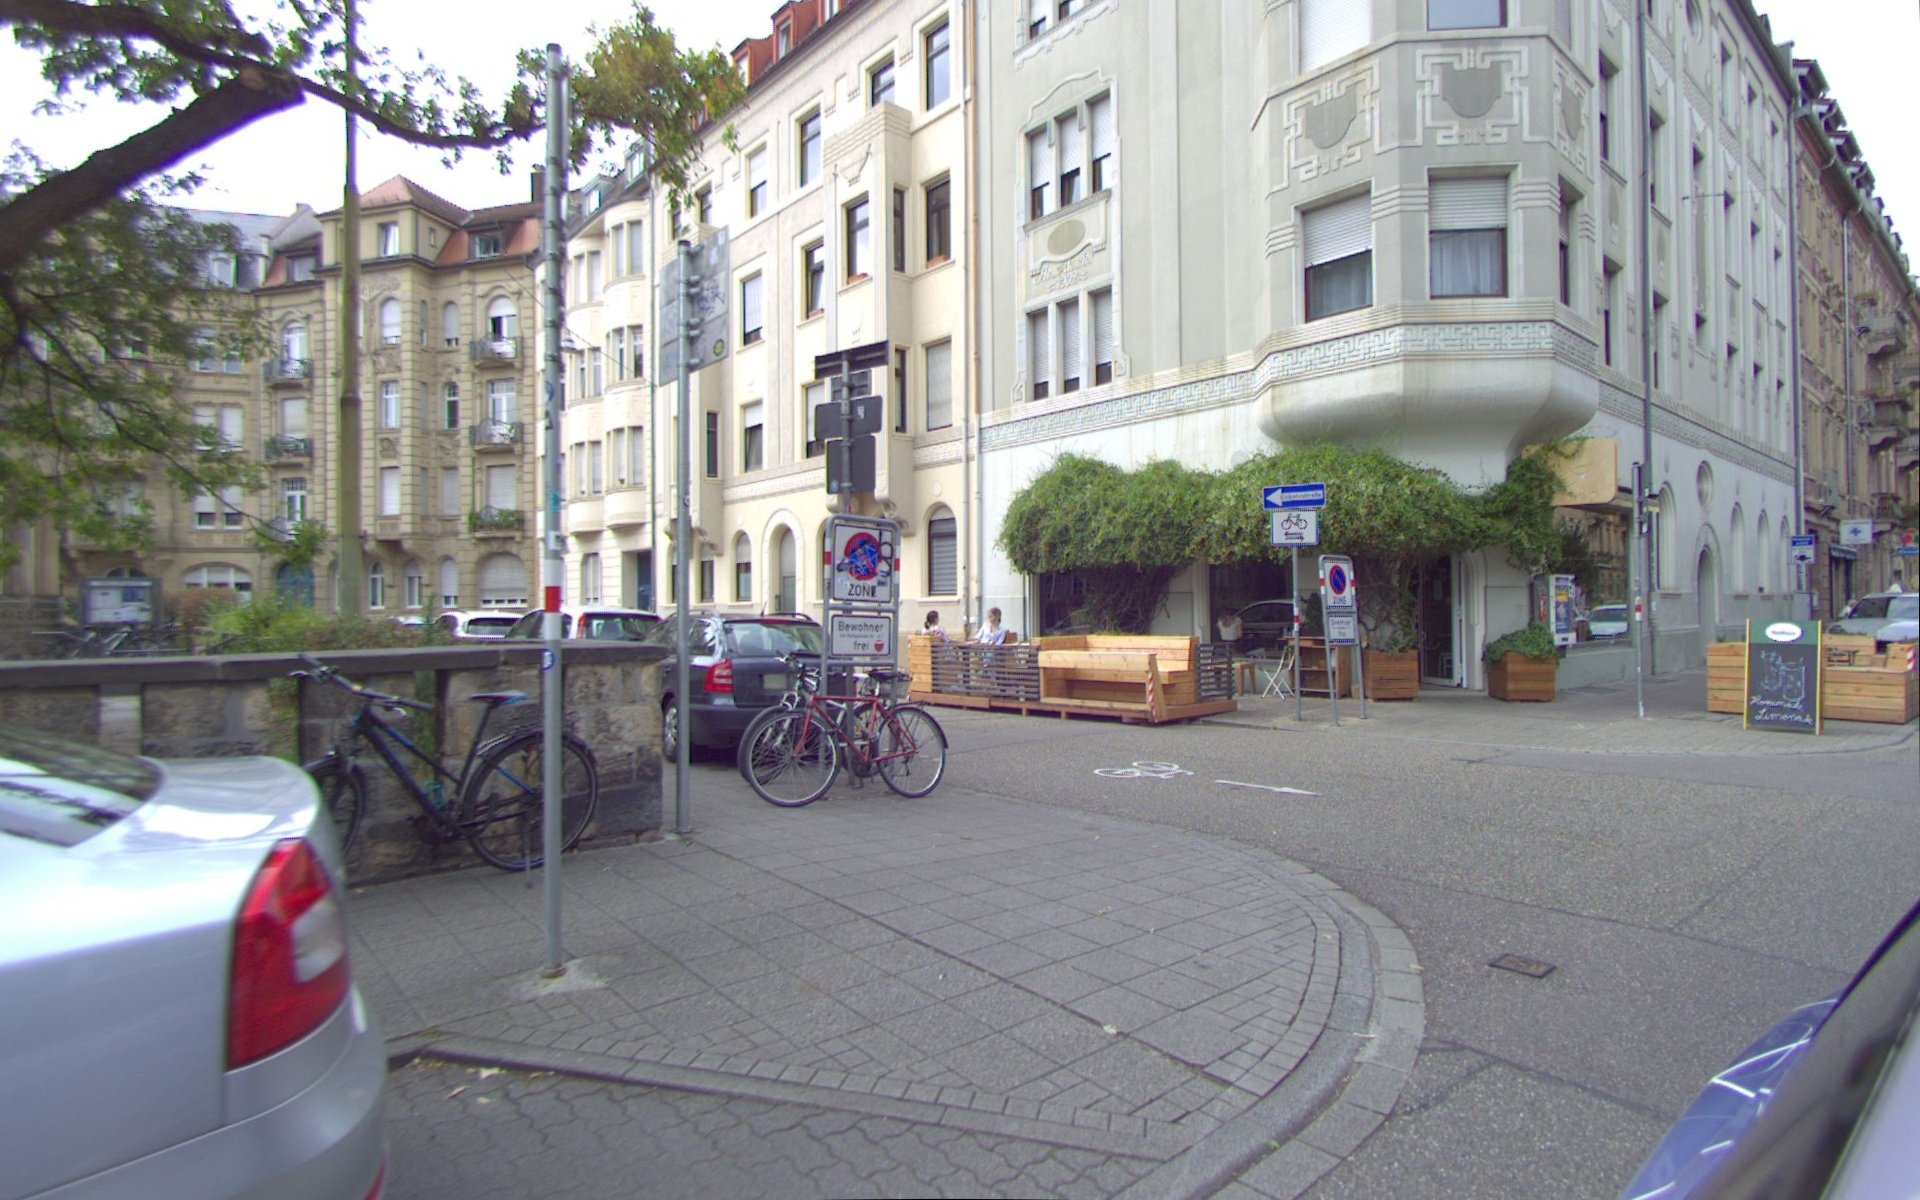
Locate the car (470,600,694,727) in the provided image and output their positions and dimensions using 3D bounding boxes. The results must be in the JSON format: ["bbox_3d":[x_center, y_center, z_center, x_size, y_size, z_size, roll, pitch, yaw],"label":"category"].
[{"bbox_3d":[-5.556,0.825,14.570,1.814,1.555,4.032,3,-2,-39],"label":"car"}]

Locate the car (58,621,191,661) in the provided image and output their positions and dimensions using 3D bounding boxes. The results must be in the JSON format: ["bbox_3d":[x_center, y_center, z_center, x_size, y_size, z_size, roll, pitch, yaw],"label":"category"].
[{"bbox_3d":[-35.404,1.720,42.982,4.067,1.396,1.639,-3,-1,-11],"label":"car"}]

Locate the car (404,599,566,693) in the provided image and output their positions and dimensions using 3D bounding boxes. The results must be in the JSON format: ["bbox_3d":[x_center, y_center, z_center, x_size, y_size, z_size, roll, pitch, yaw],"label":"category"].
[{"bbox_3d":[-8.973,0.814,18.944,1.814,1.555,4.032,3,-2,-39],"label":"car"}]

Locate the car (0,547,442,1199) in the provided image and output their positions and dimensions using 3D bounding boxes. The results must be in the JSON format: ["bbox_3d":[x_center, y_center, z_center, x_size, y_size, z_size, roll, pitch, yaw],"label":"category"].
[{"bbox_3d":[-2.960,0.695,0.708,4.343,1.487,1.757,0,0,-42],"label":"car"}]

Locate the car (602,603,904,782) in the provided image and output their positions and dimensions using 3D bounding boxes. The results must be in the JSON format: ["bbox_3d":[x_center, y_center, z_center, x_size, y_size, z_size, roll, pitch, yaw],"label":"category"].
[{"bbox_3d":[-2.392,0.804,10.795,1.871,1.488,4.039,-1,0,-32],"label":"car"}]

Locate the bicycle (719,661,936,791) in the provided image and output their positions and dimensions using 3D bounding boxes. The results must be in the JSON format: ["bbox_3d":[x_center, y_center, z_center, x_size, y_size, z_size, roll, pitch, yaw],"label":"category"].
[{"bbox_3d":[-1.061,1.002,8.432,1.788,0.928,0.523,2,-2,-40],"label":"bicycle"}]

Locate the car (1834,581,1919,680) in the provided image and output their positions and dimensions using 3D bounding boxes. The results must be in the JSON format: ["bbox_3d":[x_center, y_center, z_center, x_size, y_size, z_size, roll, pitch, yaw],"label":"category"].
[{"bbox_3d":[17.802,0.524,18.580,3.932,1.693,1.854,0,-1,-37],"label":"car"}]

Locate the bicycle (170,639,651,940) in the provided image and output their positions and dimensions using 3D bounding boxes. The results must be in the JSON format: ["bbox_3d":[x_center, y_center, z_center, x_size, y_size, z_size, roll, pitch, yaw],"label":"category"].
[{"bbox_3d":[-2.504,0.773,4.800,1.943,1.119,0.523,0,-1,-40],"label":"bicycle"}]

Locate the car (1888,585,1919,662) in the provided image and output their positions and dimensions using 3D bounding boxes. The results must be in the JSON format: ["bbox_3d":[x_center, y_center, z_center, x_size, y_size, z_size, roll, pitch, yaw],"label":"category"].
[{"bbox_3d":[23.092,0.509,23.295,3.932,1.693,1.854,0,-1,-37],"label":"car"}]

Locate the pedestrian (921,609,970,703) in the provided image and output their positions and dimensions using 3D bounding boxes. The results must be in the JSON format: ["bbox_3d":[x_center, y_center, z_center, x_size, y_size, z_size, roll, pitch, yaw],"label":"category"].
[{"bbox_3d":[-0.238,0.894,16.550,0.550,1.488,0.548,0,-1,-40],"label":"pedestrian"}]

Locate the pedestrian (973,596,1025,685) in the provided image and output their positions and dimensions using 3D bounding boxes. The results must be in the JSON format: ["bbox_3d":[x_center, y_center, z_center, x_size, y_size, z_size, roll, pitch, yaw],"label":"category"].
[{"bbox_3d":[0.670,0.686,17.470,0.624,1.477,0.548,-5,2,-40],"label":"pedestrian"}]

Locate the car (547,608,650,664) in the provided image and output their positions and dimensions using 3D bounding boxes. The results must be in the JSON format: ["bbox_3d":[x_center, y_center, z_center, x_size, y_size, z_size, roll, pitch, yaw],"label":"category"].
[{"bbox_3d":[-10.788,1.018,30.051,1.608,1.469,4.032,-2,1,-39],"label":"car"}]

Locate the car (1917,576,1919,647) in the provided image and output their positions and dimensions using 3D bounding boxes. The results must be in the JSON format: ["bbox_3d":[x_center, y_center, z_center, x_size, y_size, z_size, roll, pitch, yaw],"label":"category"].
[{"bbox_3d":[27.505,0.339,27.250,3.932,1.969,1.854,0,-1,-37],"label":"car"}]

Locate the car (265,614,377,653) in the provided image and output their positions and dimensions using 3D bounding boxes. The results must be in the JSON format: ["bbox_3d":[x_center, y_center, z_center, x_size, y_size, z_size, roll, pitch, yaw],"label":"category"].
[{"bbox_3d":[-26.639,1.381,42.225,4.093,1.396,1.629,-3,-1,16],"label":"car"}]

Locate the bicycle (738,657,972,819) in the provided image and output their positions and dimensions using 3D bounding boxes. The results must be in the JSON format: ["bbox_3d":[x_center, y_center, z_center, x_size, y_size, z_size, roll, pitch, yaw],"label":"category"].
[{"bbox_3d":[-0.753,0.984,7.700,1.788,1.064,0.523,2,-2,-40],"label":"bicycle"}]
